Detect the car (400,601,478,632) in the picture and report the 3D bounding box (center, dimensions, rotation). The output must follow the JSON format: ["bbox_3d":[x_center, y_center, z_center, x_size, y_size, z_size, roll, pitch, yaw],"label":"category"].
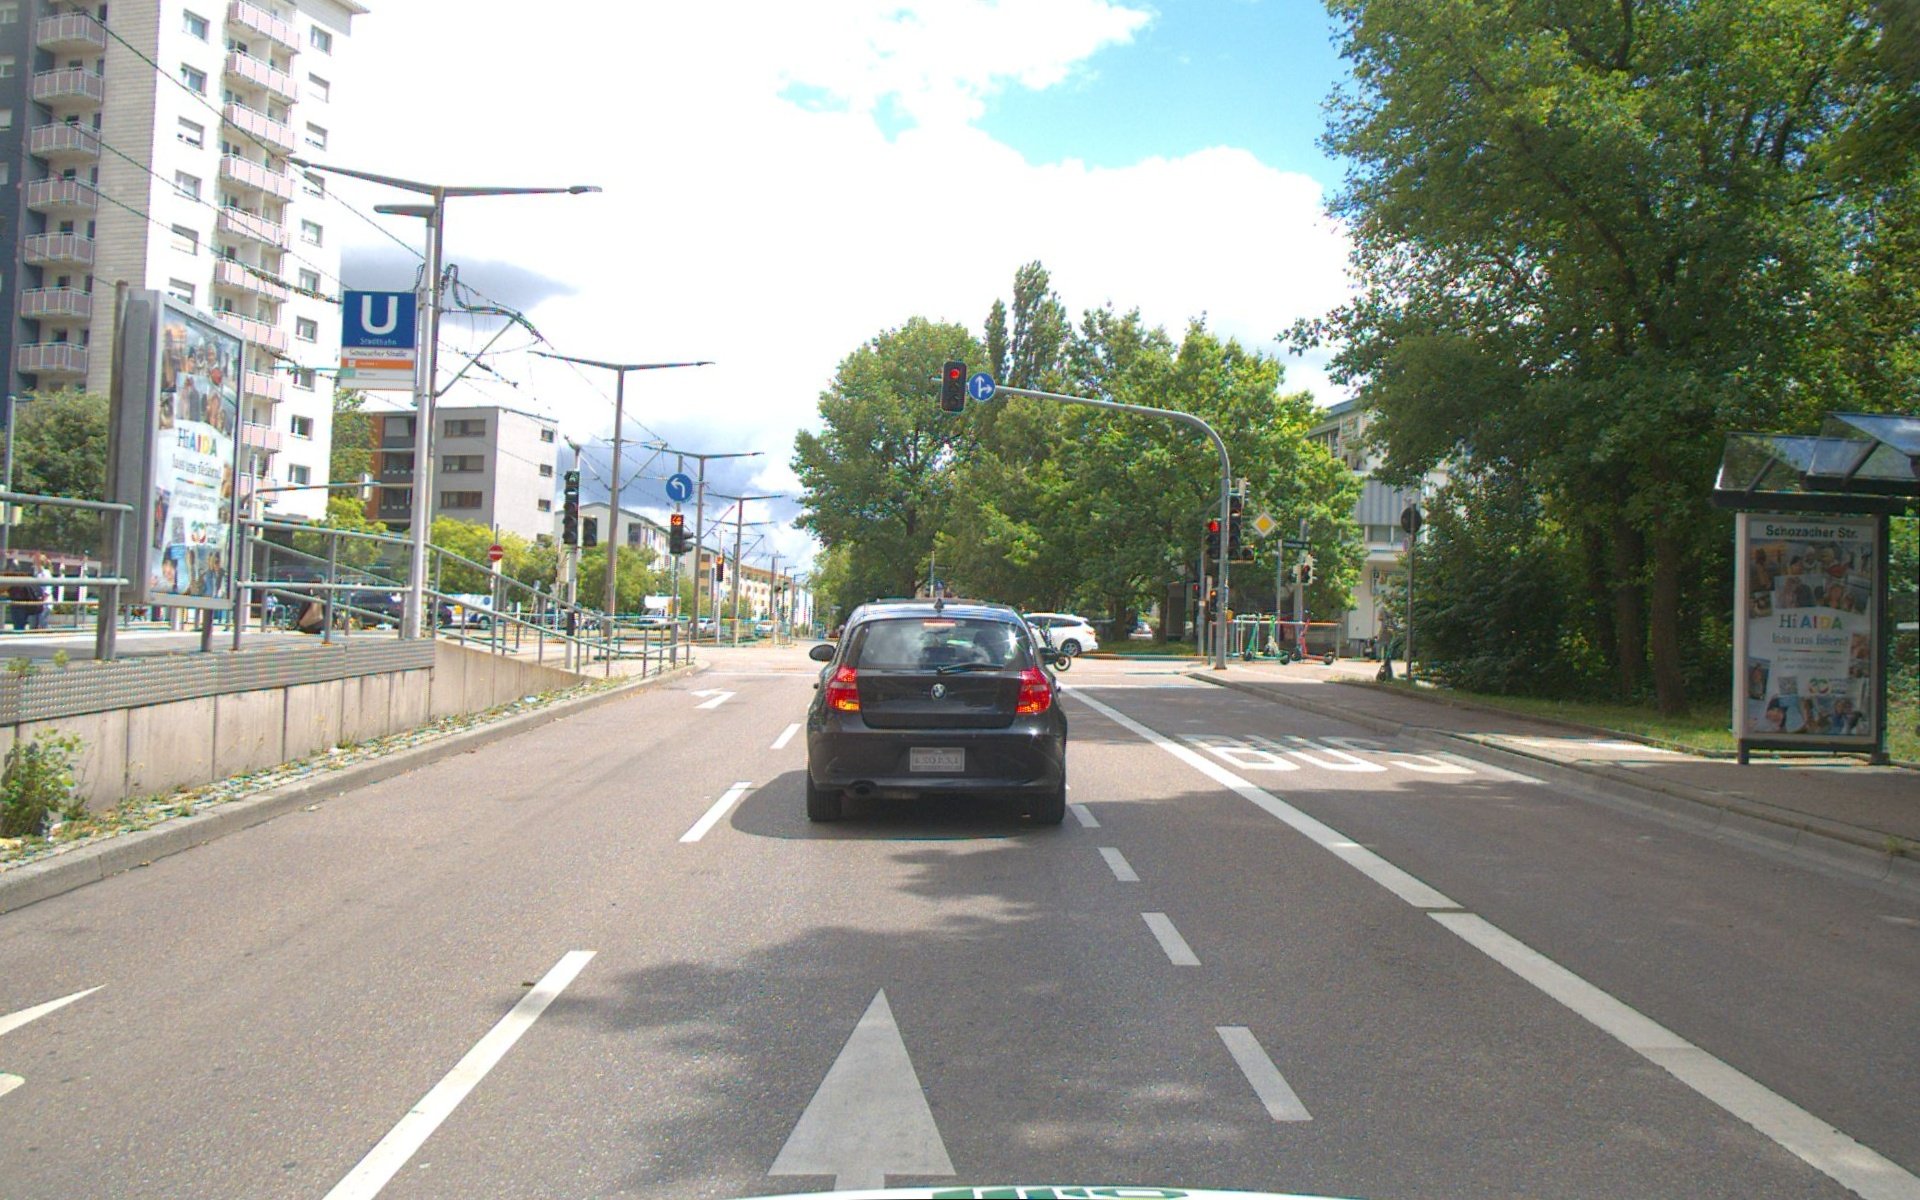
[{"bbox_3d":[-26.341,0.843,83.683,3.537,1.488,1.613,1,0,-9],"label":"car"}]

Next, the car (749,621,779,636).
[{"bbox_3d":[-21.186,3.075,179.001,1.924,1.624,4.003,1,0,13],"label":"car"}]

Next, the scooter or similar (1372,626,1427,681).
[{"bbox_3d":[9.184,1.118,34.558,1.133,1.118,0.329,1,0,-25],"label":"scooter or similar"}]

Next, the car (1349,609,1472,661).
[{"bbox_3d":[14.778,1.151,54.318,3.515,1.628,1.706,1,-1,-13],"label":"car"}]

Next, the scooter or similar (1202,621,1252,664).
[{"bbox_3d":[6.105,0.974,37.776,1.102,0.974,0.299,1,0,-17],"label":"scooter or similar"}]

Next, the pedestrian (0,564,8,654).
[{"bbox_3d":[-17.411,0.154,29.189,0.842,1.605,0.622,1,0,-9],"label":"pedestrian"}]

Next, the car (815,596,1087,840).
[{"bbox_3d":[-0.028,0.705,11.715,1.620,1.443,3.517,1,0,1],"label":"car"}]

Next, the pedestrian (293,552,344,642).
[{"bbox_3d":[-11.883,-0.053,30.659,0.686,1.661,0.638,0,0,-1],"label":"pedestrian"}]

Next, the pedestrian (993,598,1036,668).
[{"bbox_3d":[1.176,0.705,35.505,0.846,1.468,0.799,1,0,6],"label":"pedestrian"}]

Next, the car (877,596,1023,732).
[{"bbox_3d":[-0.111,0.688,19.595,1.562,1.443,3.517,1,0,0],"label":"car"}]

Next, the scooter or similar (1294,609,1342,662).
[{"bbox_3d":[8.598,0.852,39.764,1.087,1.280,0.331,1,0,-13],"label":"scooter or similar"}]

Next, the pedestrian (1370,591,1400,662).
[{"bbox_3d":[11.252,0.705,43.782,0.600,1.821,0.569,4,0,17],"label":"pedestrian"}]

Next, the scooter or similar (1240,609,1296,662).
[{"bbox_3d":[7.245,0.835,38.874,1.267,1.210,0.383,1,0,-17],"label":"scooter or similar"}]

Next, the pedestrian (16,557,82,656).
[{"bbox_3d":[-16.293,0.117,29.581,0.669,1.736,0.822,1,0,40],"label":"pedestrian"}]

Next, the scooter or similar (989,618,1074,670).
[{"bbox_3d":[1.508,0.920,34.912,1.746,1.069,0.410,1,0,-6],"label":"scooter or similar"}]

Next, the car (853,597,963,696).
[{"bbox_3d":[-0.847,0.693,26.392,1.621,1.443,3.515,1,0,-2],"label":"car"}]

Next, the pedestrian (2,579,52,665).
[{"bbox_3d":[-15.190,0.356,26.921,0.680,1.366,0.851,1,0,-31],"label":"pedestrian"}]

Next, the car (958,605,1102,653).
[{"bbox_3d":[2.328,0.960,55.348,4.491,1.553,1.939,1,0,-12],"label":"car"}]

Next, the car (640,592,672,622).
[{"bbox_3d":[-27.758,0.615,151.108,2.096,2.686,5.356,1,0,-2],"label":"car"}]
